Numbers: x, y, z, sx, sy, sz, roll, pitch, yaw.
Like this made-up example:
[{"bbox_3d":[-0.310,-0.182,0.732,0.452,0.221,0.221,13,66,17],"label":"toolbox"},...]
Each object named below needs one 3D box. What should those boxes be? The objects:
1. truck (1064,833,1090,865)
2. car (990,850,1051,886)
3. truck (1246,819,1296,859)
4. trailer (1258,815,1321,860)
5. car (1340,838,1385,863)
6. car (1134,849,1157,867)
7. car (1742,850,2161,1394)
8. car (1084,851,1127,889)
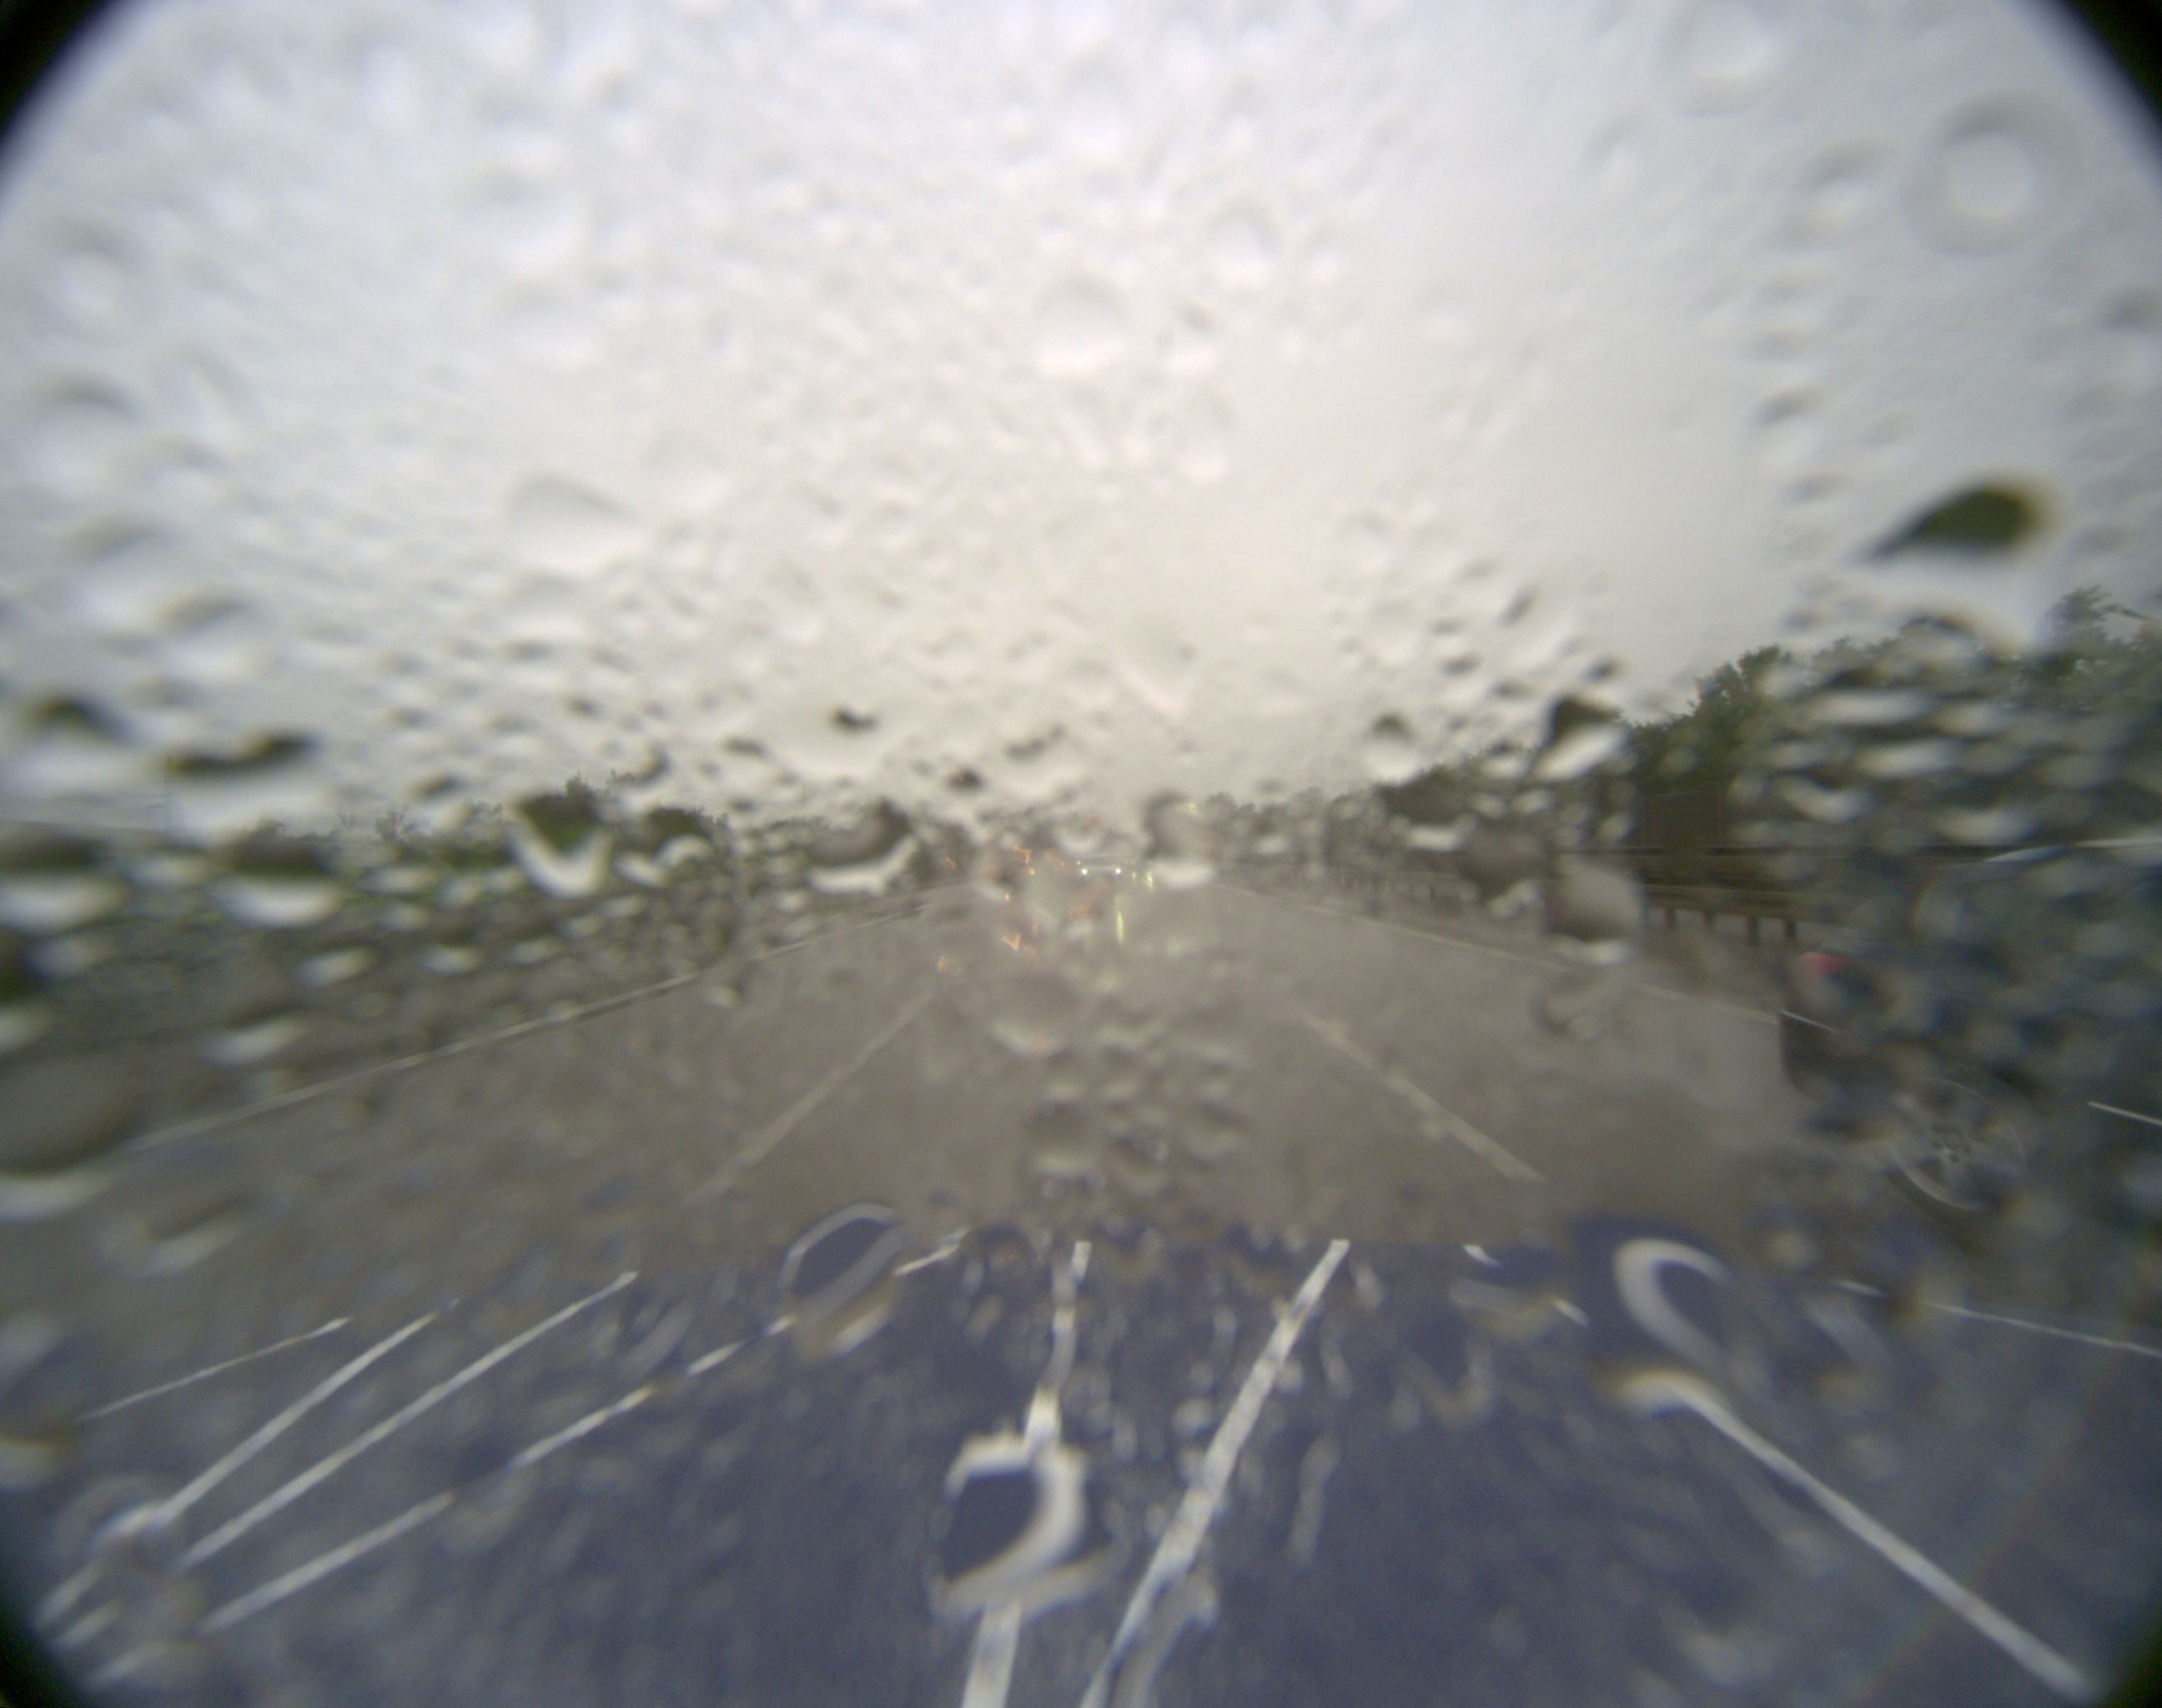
[{"bbox_3d":[-0.522,-0.652,100.391,2.754,4.054,6.484,-2,0,5],"label":"truck"},{"bbox_3d":[-3.159,0.722,41.233,2.463,1.736,5.720,-2,0,3],"label":"car"},{"bbox_3d":[23.858,-1.794,96.018,3.845,4.612,9.492,-2,0,1],"label":"truck"},{"bbox_3d":[23.705,-1.808,87.217,3.879,4.668,12.243,-2,0,1],"label":"trailer"},{"bbox_3d":[21.608,-0.272,58.549,1.998,1.724,4.000,-2,0,1],"label":"car"},{"bbox_3d":[6.120,0.351,72.287,1.900,1.533,4.090,-2,0,2],"label":"car"},{"bbox_3d":[4.060,0.757,0.896,2.059,1.477,5.157,-2,0,0],"label":"car"},{"bbox_3d":[1.128,0.652,34.053,1.751,1.545,4.091,-2,0,3],"label":"car"}]
